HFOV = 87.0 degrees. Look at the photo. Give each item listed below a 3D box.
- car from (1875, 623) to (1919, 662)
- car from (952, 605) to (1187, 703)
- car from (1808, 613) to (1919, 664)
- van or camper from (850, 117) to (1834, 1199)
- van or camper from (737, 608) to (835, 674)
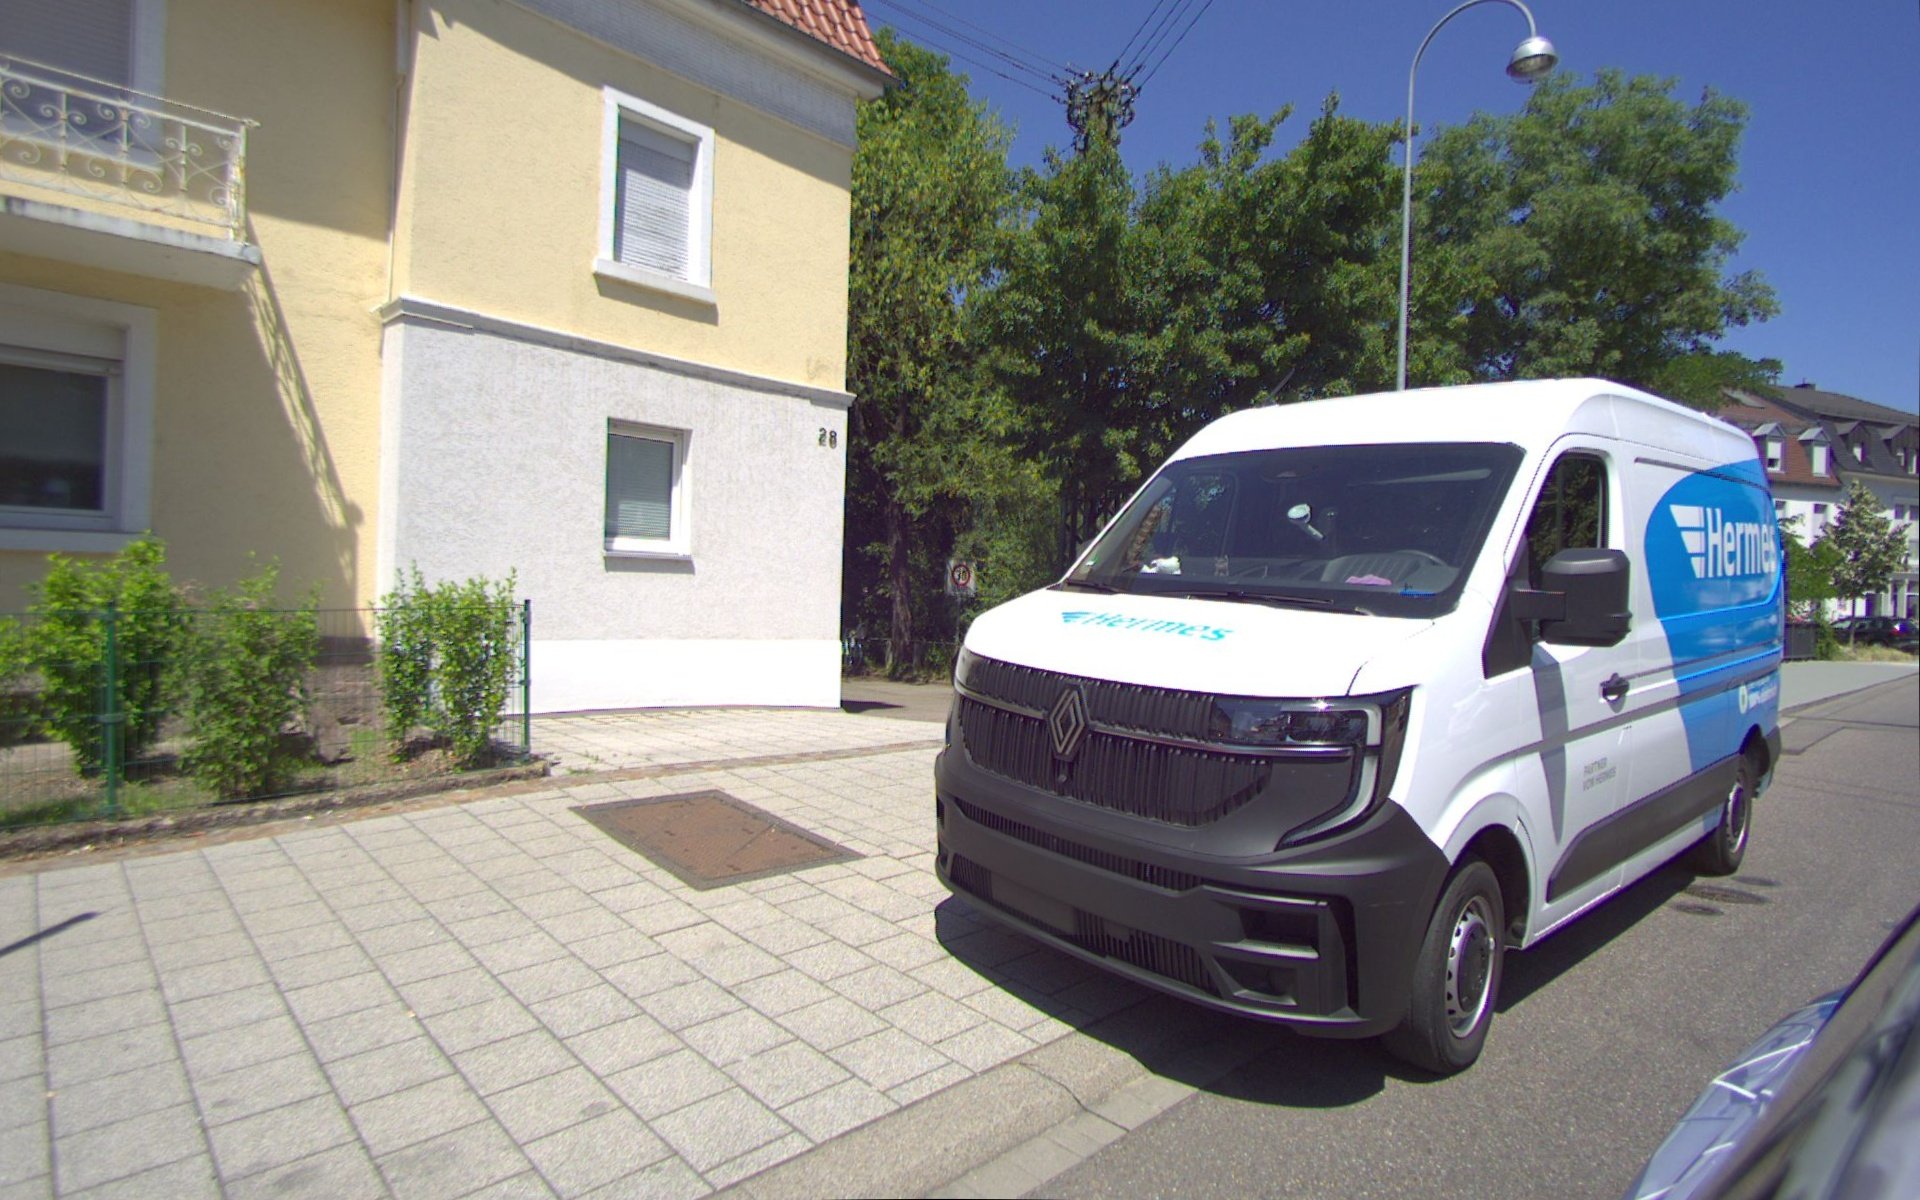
[{"bbox_3d":[42.172,1.839,43.335,1.958,1.692,4.007,1,-2,-15],"label":"car"},{"bbox_3d":[1.747,0.928,17.674,1.613,1.486,4.404,1,-3,-34],"label":"car"},{"bbox_3d":[38.645,1.585,42.659,1.958,2.040,4.007,1,-1,-15],"label":"car"},{"bbox_3d":[2.542,0.098,5.137,6.072,2.497,2.112,0,3,-43],"label":"van or camper"},{"bbox_3d":[-4.952,1.108,28.463,1.643,1.593,3.540,1,1,-29],"label":"van or camper"}]
